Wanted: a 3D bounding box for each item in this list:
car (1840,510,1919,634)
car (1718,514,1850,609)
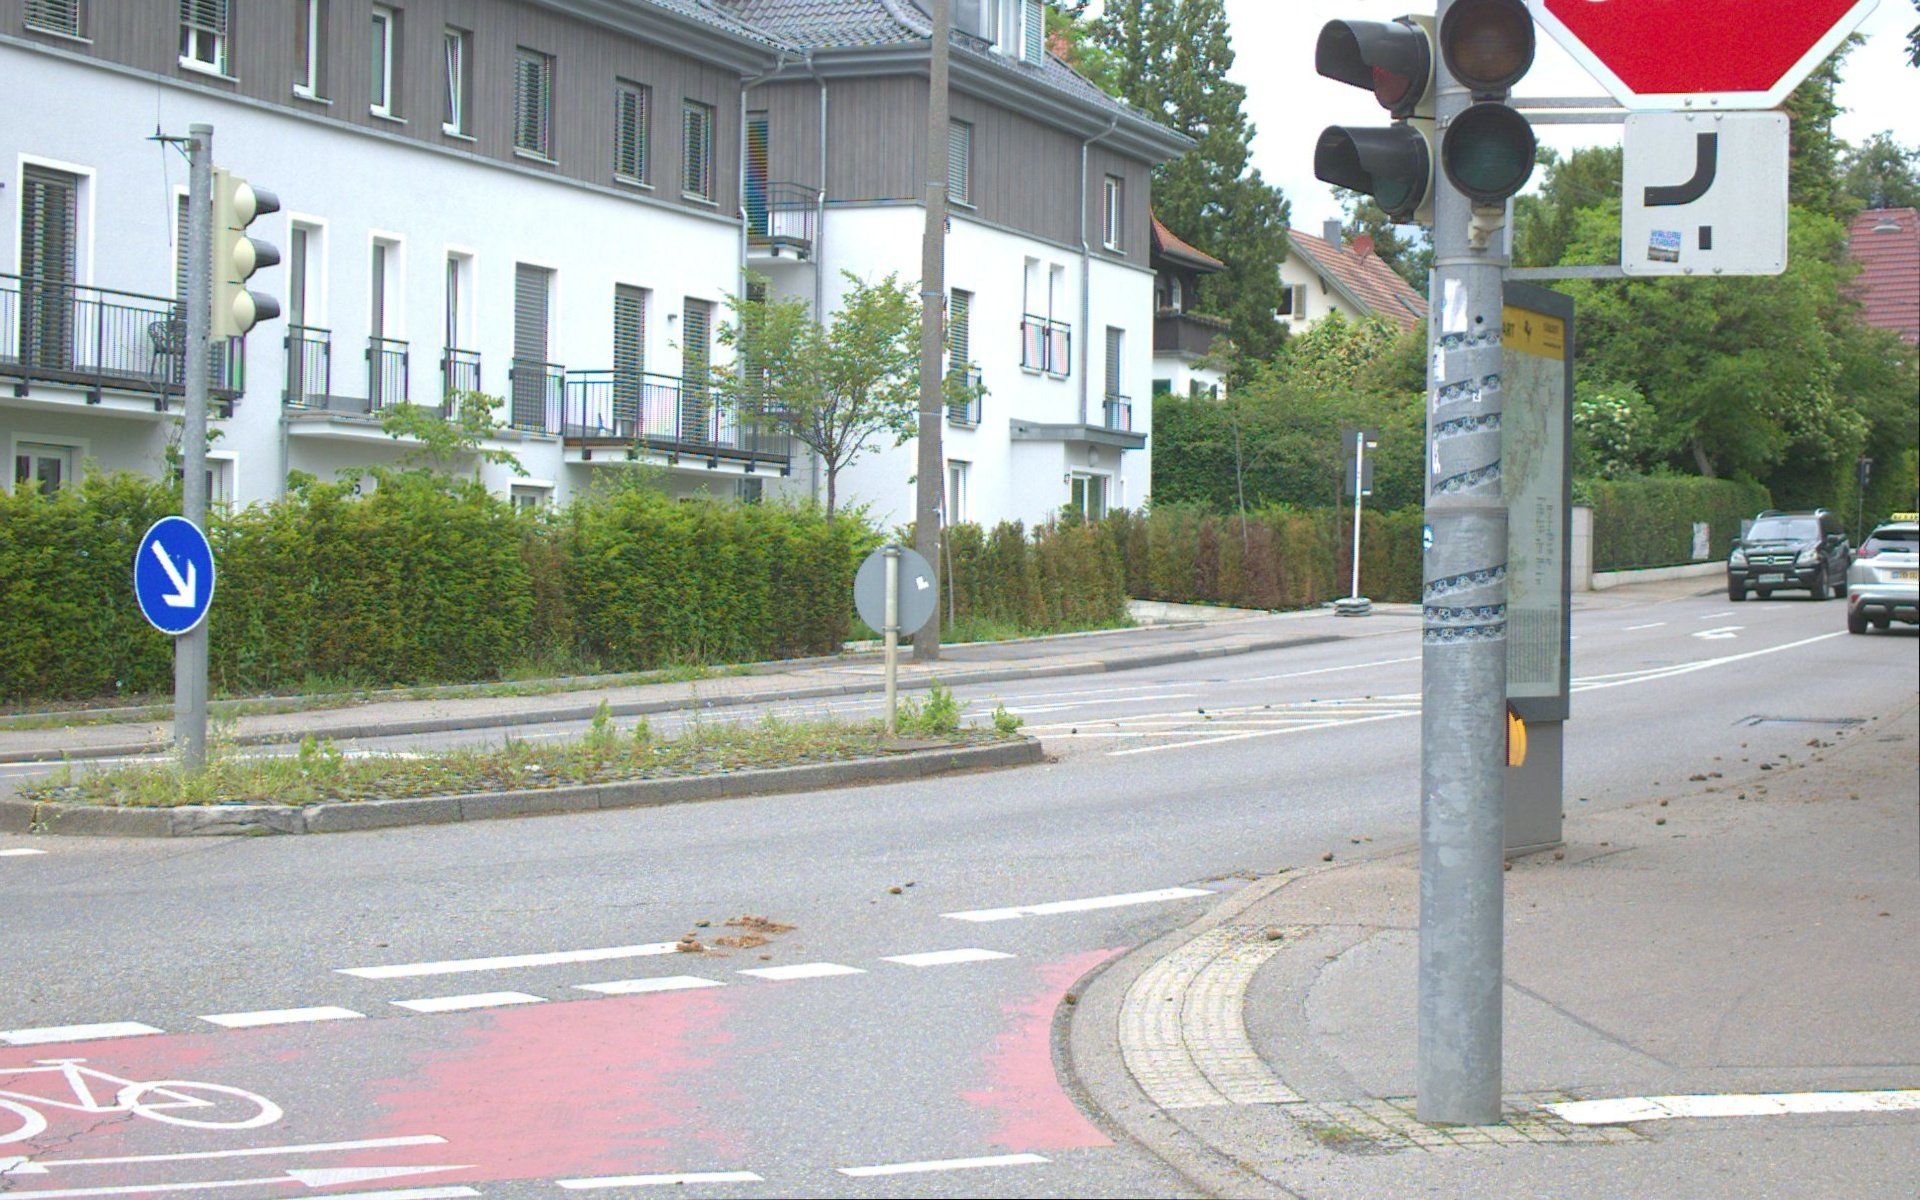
[{"bbox_3d":[14.169,-0.443,50.836,1.809,1.747,4.483,0,1,20],"label":"car"},{"bbox_3d":[16.992,-0.788,70.758,1.914,1.874,5.136,-1,0,22],"label":"car"}]
